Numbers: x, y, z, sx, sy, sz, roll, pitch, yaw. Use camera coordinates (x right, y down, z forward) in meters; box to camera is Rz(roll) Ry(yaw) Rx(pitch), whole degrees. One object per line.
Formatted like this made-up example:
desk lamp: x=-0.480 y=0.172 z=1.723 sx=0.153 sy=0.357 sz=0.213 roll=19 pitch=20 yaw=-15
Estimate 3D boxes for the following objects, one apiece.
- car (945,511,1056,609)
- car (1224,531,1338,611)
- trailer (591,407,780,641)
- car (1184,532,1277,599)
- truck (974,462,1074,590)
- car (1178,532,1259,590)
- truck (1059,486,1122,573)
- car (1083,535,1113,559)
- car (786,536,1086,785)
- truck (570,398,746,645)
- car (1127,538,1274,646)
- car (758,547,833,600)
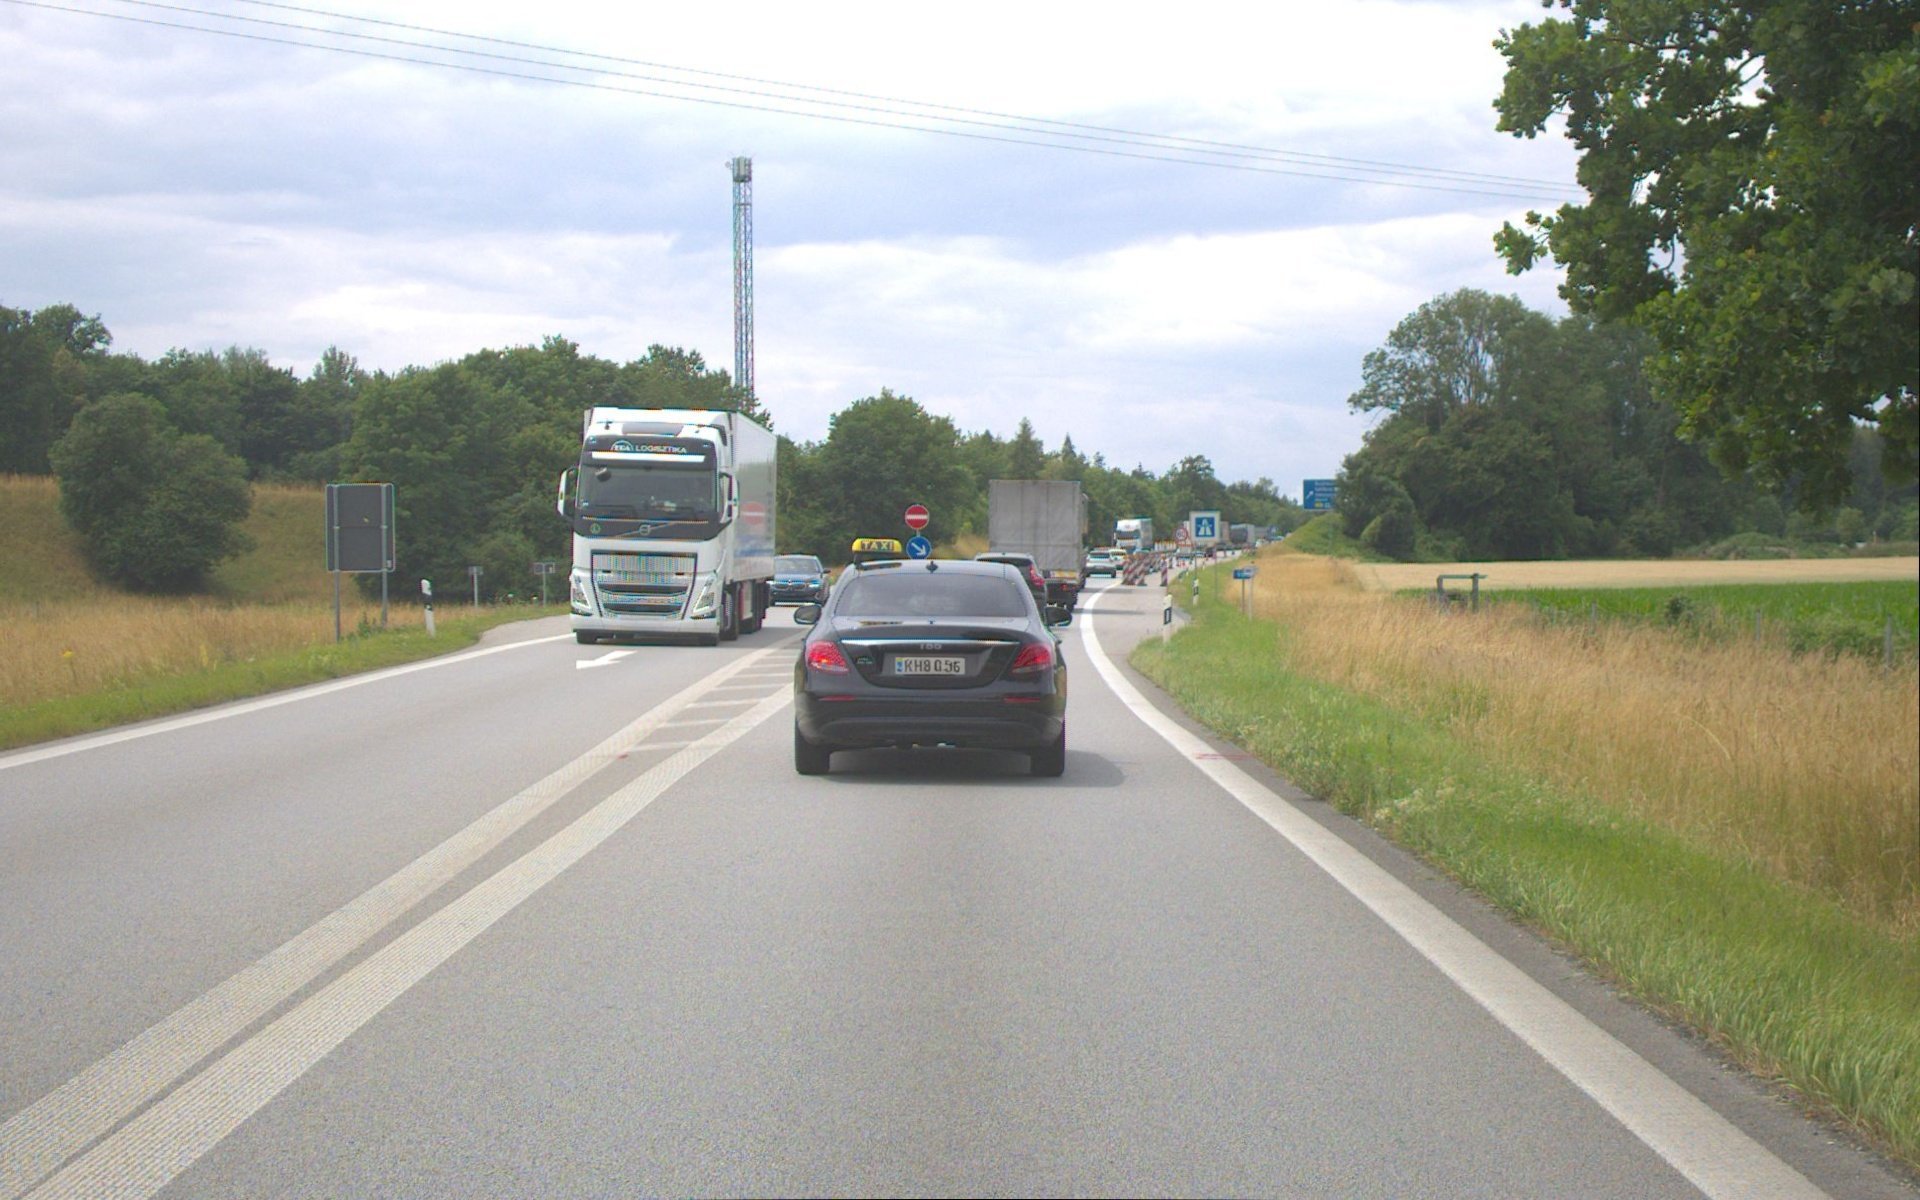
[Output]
car: x=0.846 y=-0.853 z=73.735 sx=1.993 sy=2.007 sz=4.001 roll=1 pitch=0 yaw=-4
car: x=6.973 y=-0.629 z=75.019 sx=1.795 sy=1.657 sz=4.001 roll=1 pitch=0 yaw=-4
trailer: x=-5.026 y=-1.446 z=65.215 sx=2.489 sy=3.982 sz=13.077 roll=0 pitch=1 yaw=0
car: x=7.098 y=-0.909 z=90.573 sx=1.795 sy=1.657 sz=4.001 roll=1 pitch=0 yaw=-4
truck: x=1.876 y=-2.094 z=98.503 sx=2.587 sy=3.512 sz=4.812 roll=1 pitch=0 yaw=3
car: x=7.739 y=-1.179 z=103.227 sx=1.795 sy=1.657 sz=4.001 roll=1 pitch=0 yaw=-4
truck: x=5.397 y=-2.906 z=142.731 sx=1.993 sy=3.513 sz=4.593 roll=1 pitch=0 yaw=-4
car: x=8.455 y=-3.266 z=210.854 sx=1.649 sy=1.391 sz=3.706 roll=1 pitch=0 yaw=0
car: x=-0.251 y=0.369 z=24.059 sx=1.795 sy=1.554 sz=4.001 roll=1 pitch=0 yaw=-4
truck: x=-5.052 y=-1.324 z=58.187 sx=2.489 sy=3.982 sz=5.205 roll=0 pitch=1 yaw=0
car: x=3.896 y=-0.149 z=56.302 sx=1.795 sy=1.657 sz=4.001 roll=1 pitch=0 yaw=-4
car: x=-4.767 y=-0.772 z=100.366 sx=1.857 sy=1.474 sz=5.198 roll=1 pitch=0 yaw=1
